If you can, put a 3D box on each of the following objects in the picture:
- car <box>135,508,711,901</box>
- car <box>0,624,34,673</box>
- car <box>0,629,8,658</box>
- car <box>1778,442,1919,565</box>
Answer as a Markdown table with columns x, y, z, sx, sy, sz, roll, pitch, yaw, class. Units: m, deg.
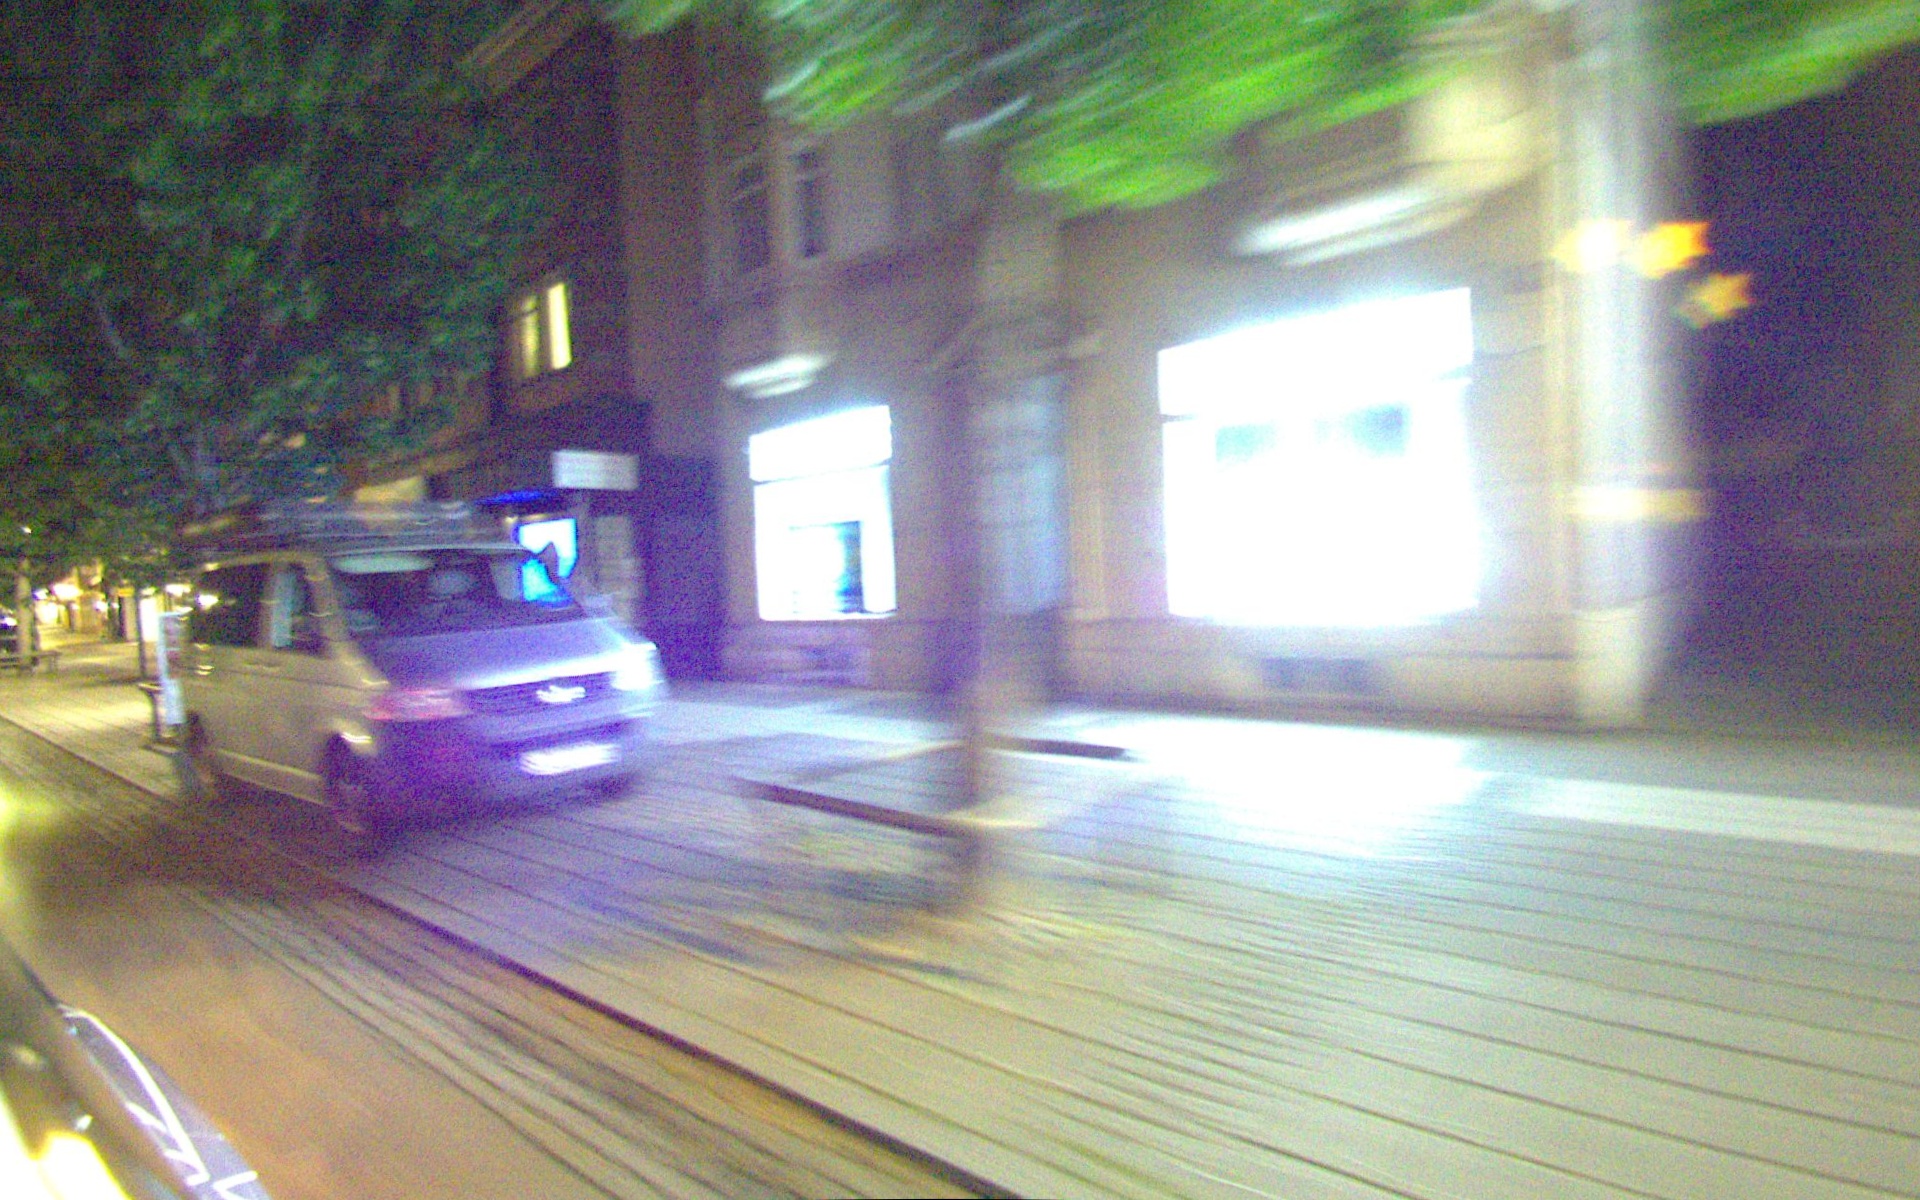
| x | y | z | sx | sy | sz | roll | pitch | yaw | class |
| --- | --- | --- | --- | --- | --- | --- | --- | --- | --- |
| -4.205 | 0.532 | 7.453 | 5.073 | 1.979 | 1.906 | -2 | 2 | 40 | car |
| -31.824 | 1.610 | 33.108 | 3.998 | 1.516 | 1.773 | -2 | 1 | 41 | car |
| -51.407 | 2.303 | 53.280 | 1.811 | 1.478 | 4.003 | -2 | 0 | -44 | car |
| 17.100 | -1.812 | 19.420 | 1.999 | 2.028 | 3.946 | -2 | 3 | 41 | car |
